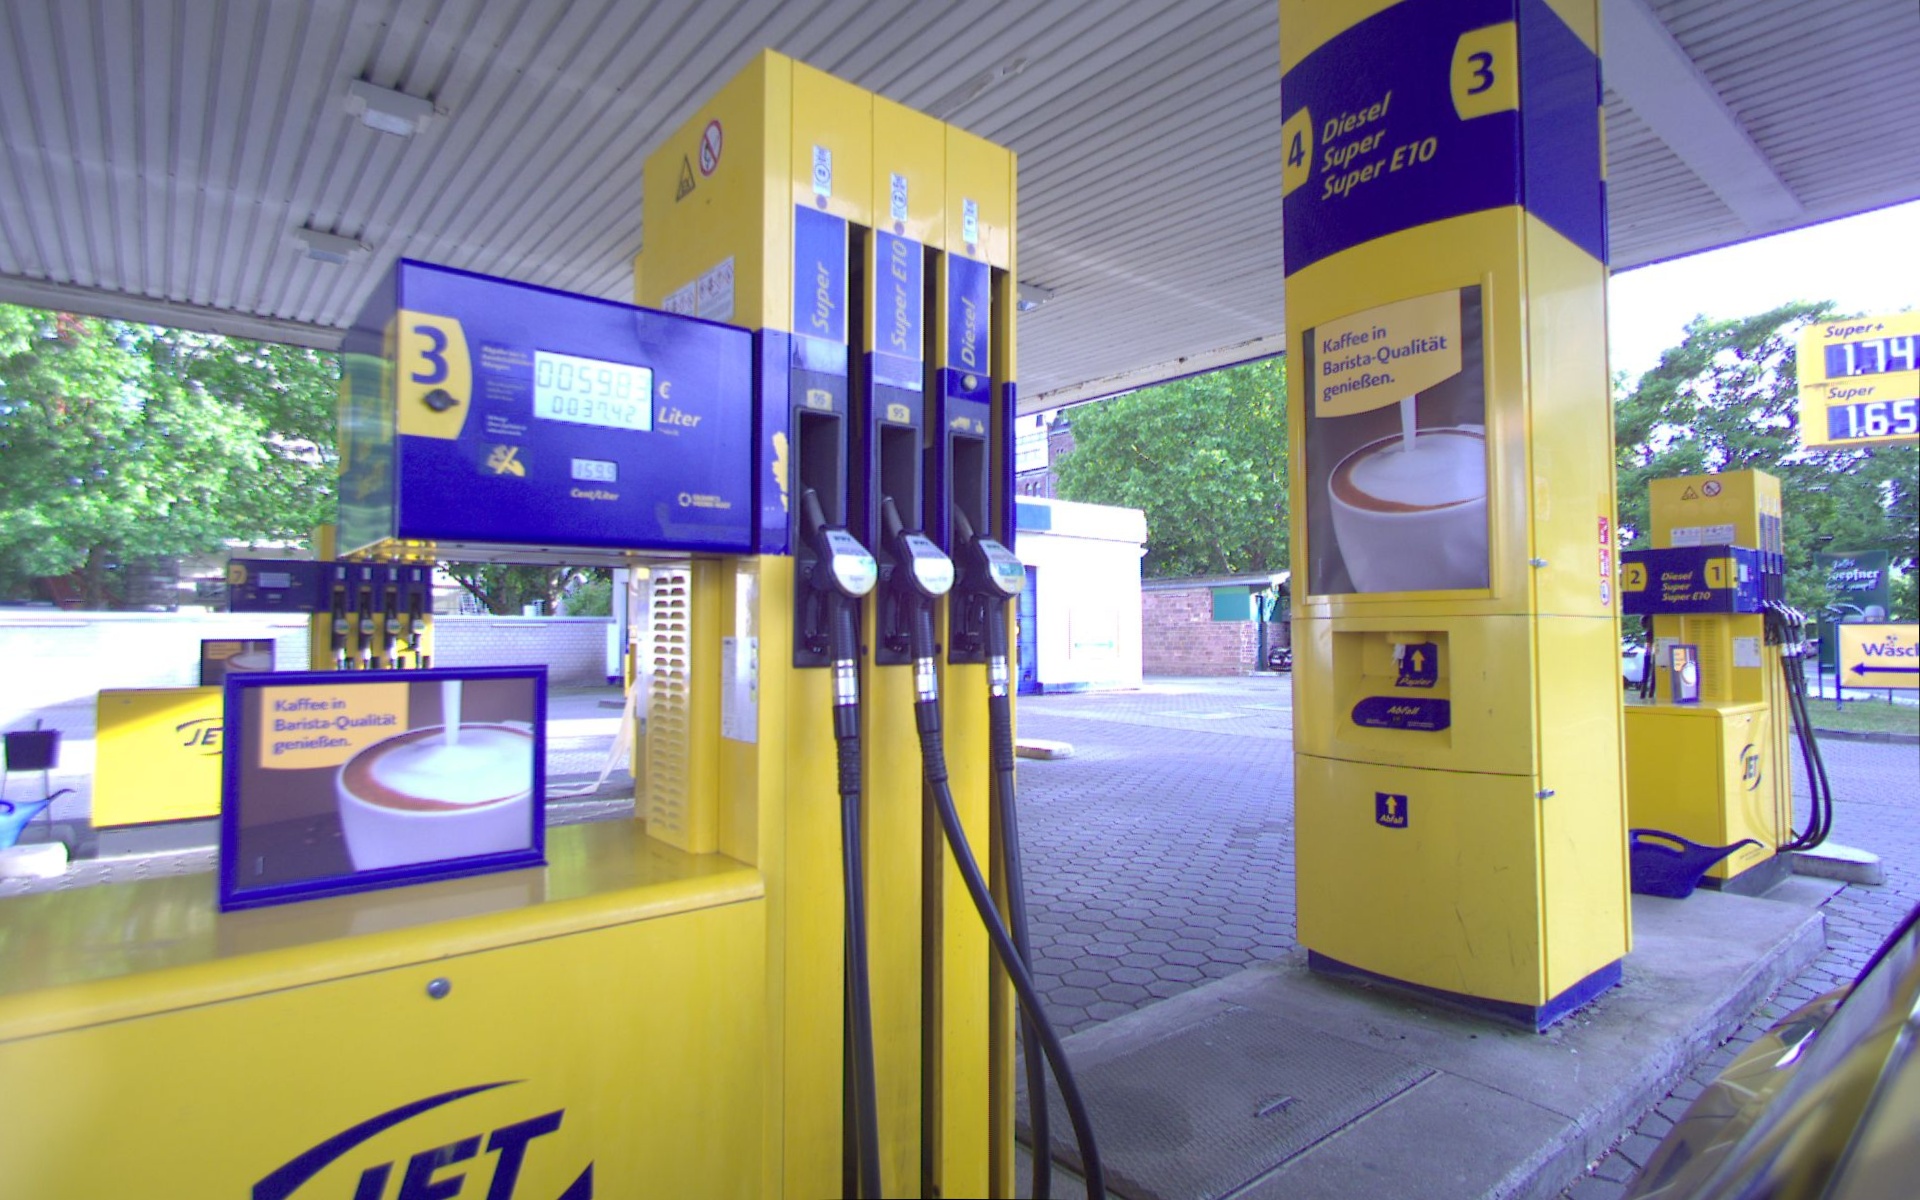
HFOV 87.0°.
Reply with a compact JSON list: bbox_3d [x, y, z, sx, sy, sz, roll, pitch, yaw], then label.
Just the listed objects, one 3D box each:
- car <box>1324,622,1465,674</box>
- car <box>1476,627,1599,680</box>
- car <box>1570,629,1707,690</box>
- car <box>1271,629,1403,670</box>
[{"bbox_3d":[13.797,1.546,32.142,4.134,1.544,1.791,2,-3,-24],"label":"car"},{"bbox_3d":[17.563,1.638,30.743,3.923,1.529,1.740,3,-3,-35],"label":"car"},{"bbox_3d":[18.229,1.560,27.155,3.923,1.529,1.740,2,-3,-35],"label":"car"},{"bbox_3d":[12.837,1.697,34.491,4.134,1.294,1.751,2,-3,-22],"label":"car"}]
